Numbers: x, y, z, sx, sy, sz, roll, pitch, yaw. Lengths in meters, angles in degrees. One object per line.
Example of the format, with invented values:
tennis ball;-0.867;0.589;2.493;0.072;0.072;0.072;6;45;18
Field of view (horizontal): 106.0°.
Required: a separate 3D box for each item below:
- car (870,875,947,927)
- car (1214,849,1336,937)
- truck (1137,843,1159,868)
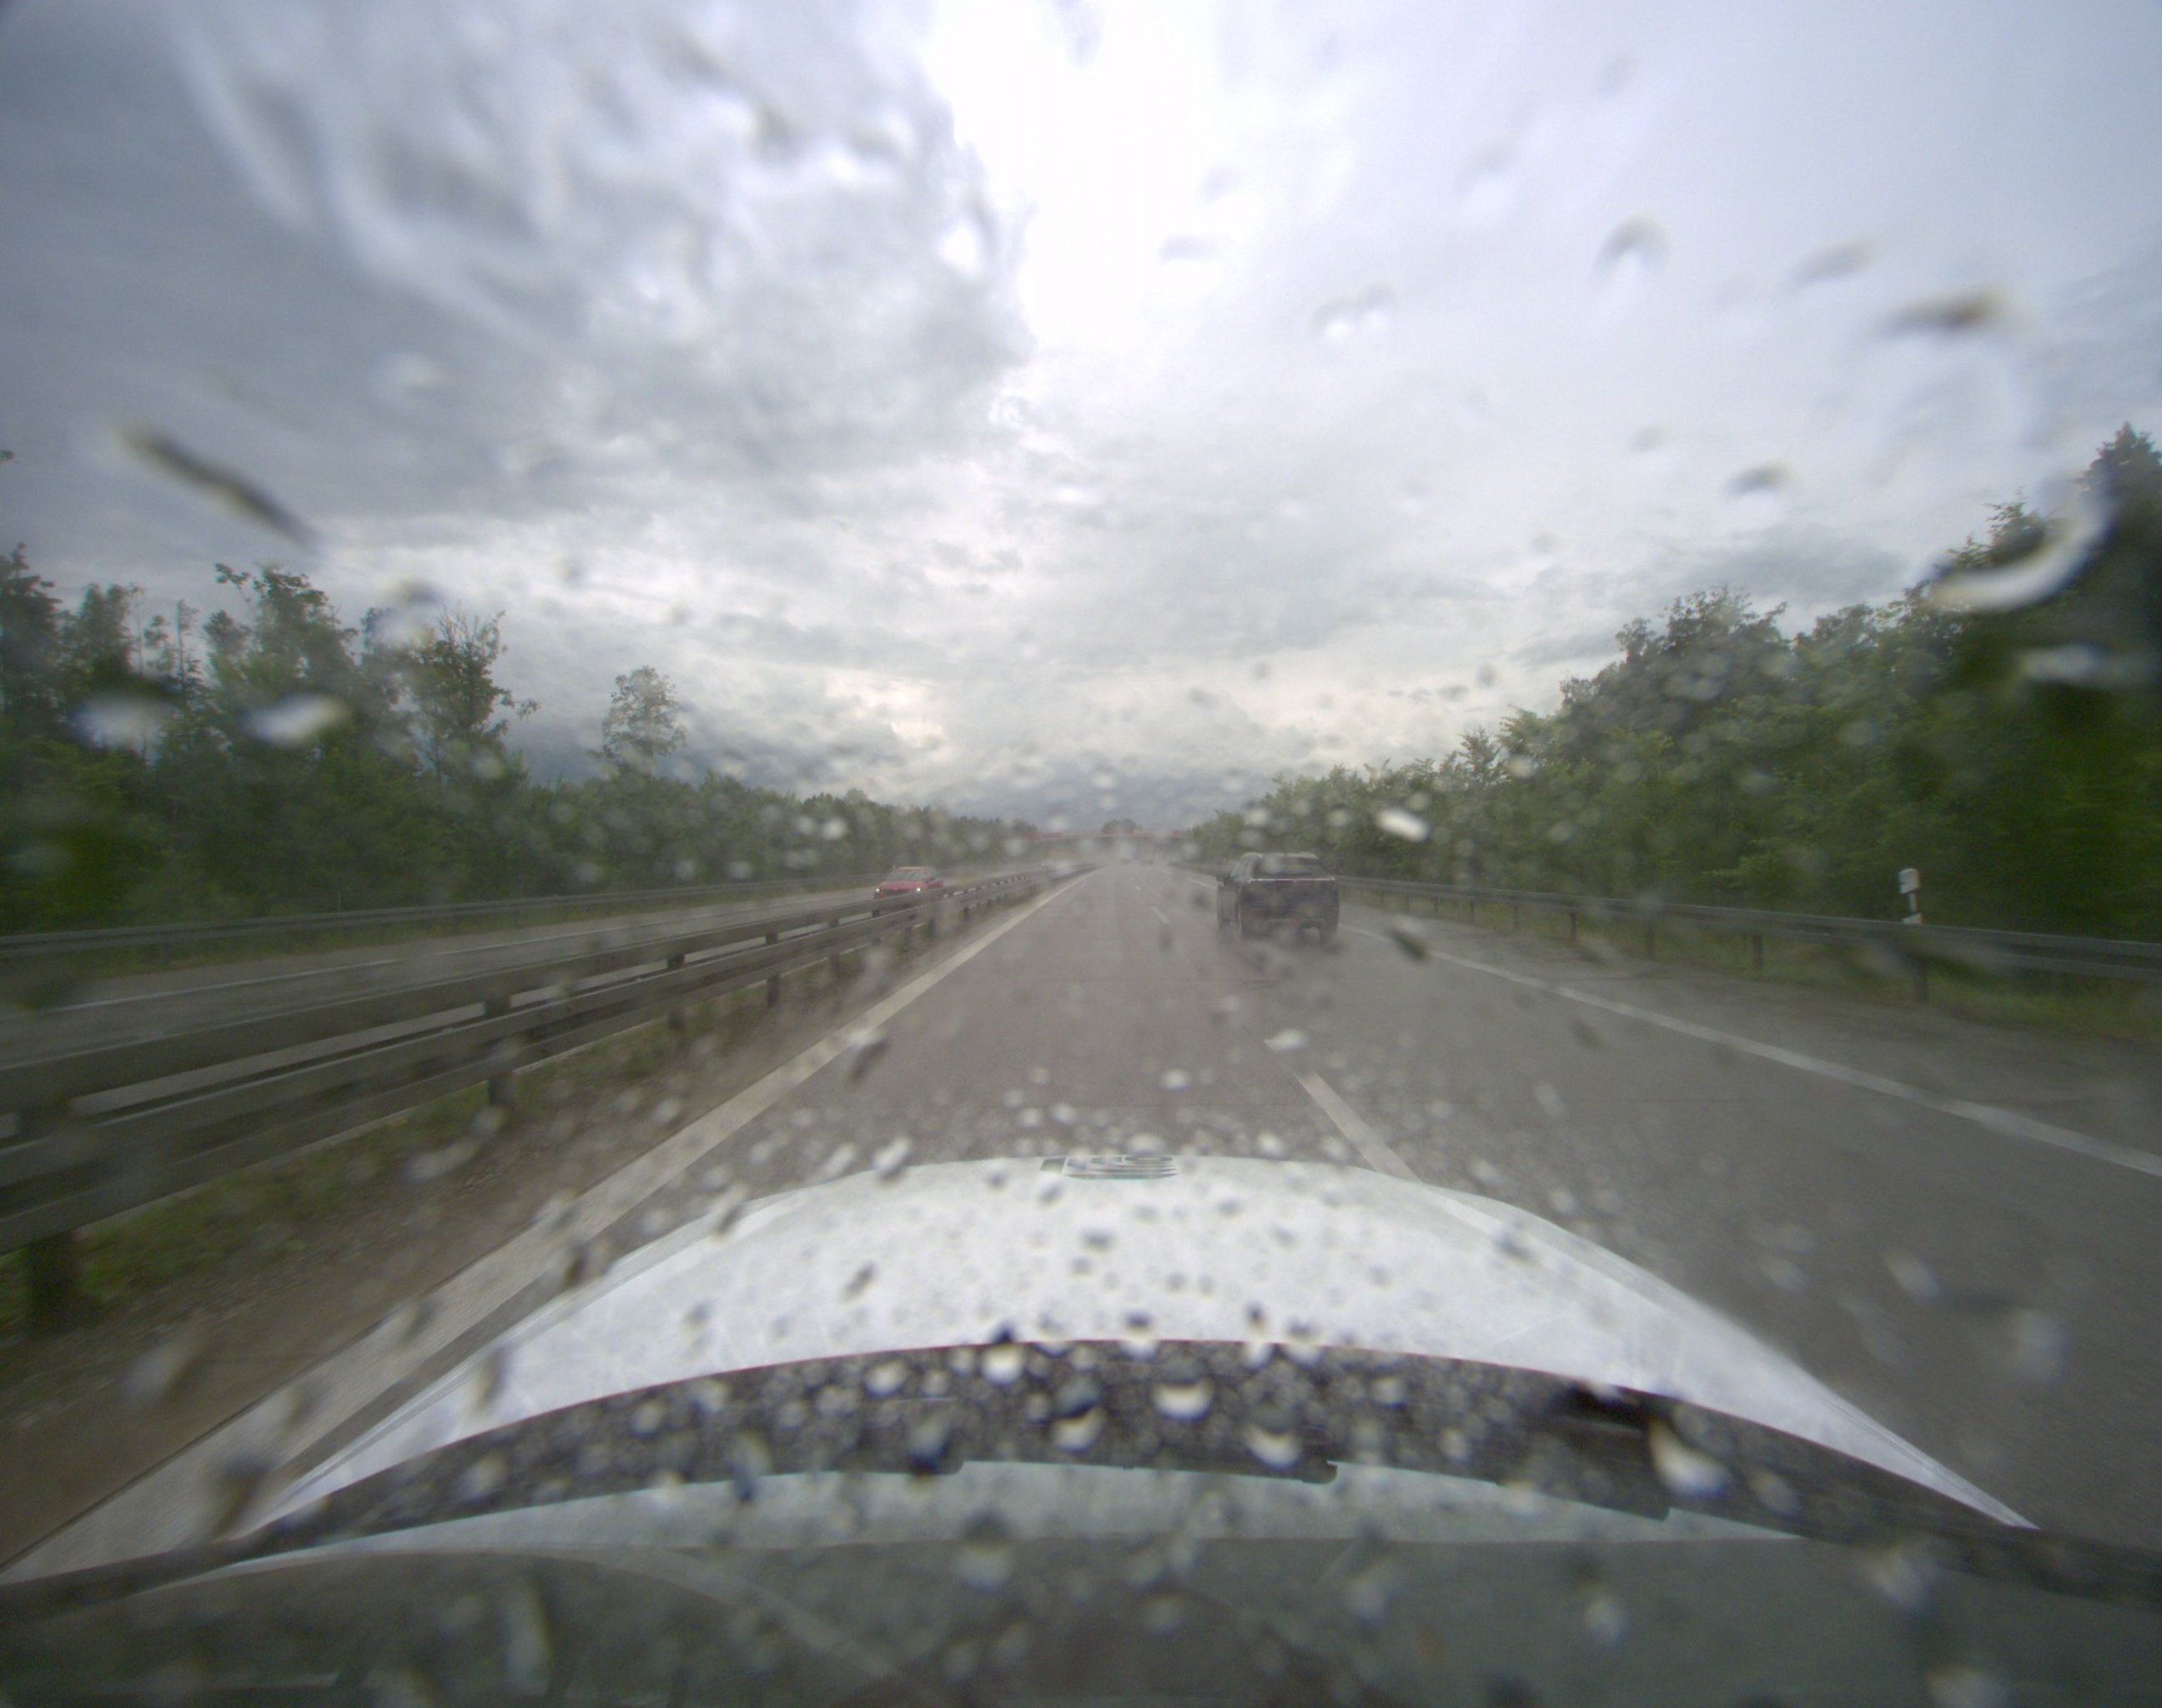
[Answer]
car;-6.092;1.612;29.197;1.757;1.464;3.847;-3;1;1
car;3.775;0.713;16.437;1.885;1.576;3.636;-1;0;5
truck;12.600;0.221;153.228;3.223;4.437;8.269;-1;0;10
